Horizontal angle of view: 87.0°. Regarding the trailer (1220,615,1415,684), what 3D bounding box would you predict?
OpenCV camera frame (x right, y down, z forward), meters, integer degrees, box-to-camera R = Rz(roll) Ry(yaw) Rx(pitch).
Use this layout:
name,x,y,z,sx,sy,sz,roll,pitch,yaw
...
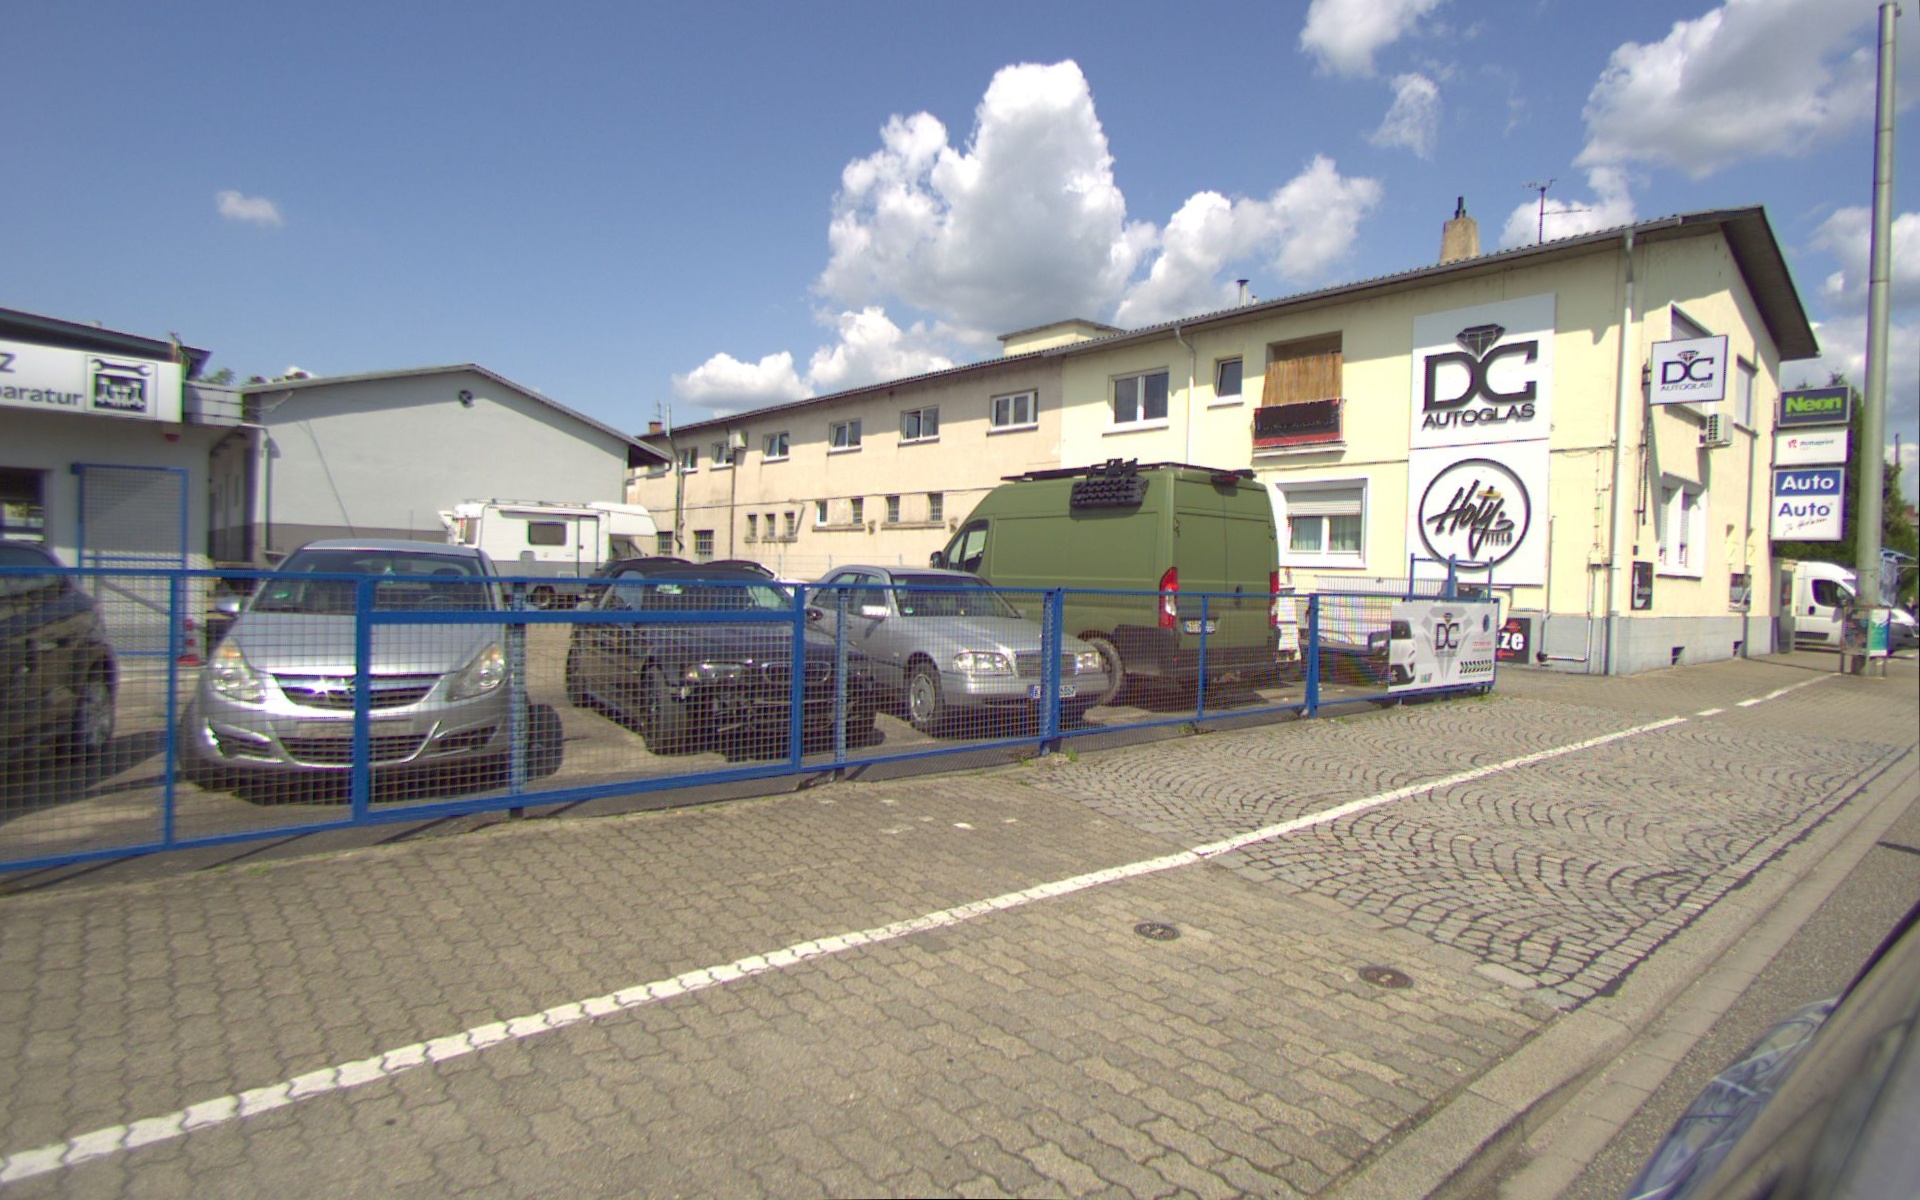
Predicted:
name,x,y,z,sx,sy,sz,roll,pitch,yaw
trailer,5.078,0.671,14.521,1.245,0.776,2.330,0,2,-39

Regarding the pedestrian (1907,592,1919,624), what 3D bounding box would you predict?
name,x,y,z,sx,sy,sz,roll,pitch,yaw
pedestrian,49.950,0.412,52.660,0.902,1.606,0.816,1,1,-41

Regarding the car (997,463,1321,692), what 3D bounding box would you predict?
name,x,y,z,sx,sy,sz,roll,pitch,yaw
car,2.608,-0.344,14.135,1.771,2.702,4.208,1,2,-40

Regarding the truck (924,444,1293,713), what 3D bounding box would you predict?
name,x,y,z,sx,sy,sz,roll,pitch,yaw
truck,1.619,-0.284,12.138,2.033,2.639,3.996,1,2,-40

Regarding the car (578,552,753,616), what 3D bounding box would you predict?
name,x,y,z,sx,sy,sz,roll,pitch,yaw
car,-7.483,-0.410,25.882,3.939,1.497,1.719,0,2,-41

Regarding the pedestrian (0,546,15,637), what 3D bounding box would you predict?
name,x,y,z,sx,sy,sz,roll,pitch,yaw
pedestrian,-13.262,-0.128,13.834,0.479,1.228,0.501,1,1,-42

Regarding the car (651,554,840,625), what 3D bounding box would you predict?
name,x,y,z,sx,sy,sz,roll,pitch,yaw
car,-4.930,-0.245,23.512,3.939,1.497,1.719,0,2,-41

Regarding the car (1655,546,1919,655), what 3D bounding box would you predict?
name,x,y,z,sx,sy,sz,roll,pitch,yaw
car,22.711,-0.082,27.401,1.963,2.404,5.989,1,5,-38

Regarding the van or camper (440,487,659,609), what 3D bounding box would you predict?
name,x,y,z,sx,sy,sz,roll,pitch,yaw
van or camper,-11.011,-1.323,27.361,4.971,2.999,2.284,0,2,-42

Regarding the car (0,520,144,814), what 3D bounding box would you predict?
name,x,y,z,sx,sy,sz,roll,pitch,yaw
car,-5.751,0.324,5.026,1.685,1.497,4.012,1,2,-25

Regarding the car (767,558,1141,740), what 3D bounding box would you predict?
name,x,y,z,sx,sy,sz,roll,pitch,yaw
car,-0.300,0.320,10.198,1.768,1.413,4.216,1,2,-33

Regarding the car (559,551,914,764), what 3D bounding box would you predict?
name,x,y,z,sx,sy,sz,roll,pitch,yaw
car,-2.129,0.310,8.739,1.768,1.403,3.837,1,2,-32

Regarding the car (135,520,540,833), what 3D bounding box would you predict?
name,x,y,z,sx,sy,sz,roll,pitch,yaw
car,-3.955,0.302,7.095,1.766,1.497,4.158,1,2,-24
